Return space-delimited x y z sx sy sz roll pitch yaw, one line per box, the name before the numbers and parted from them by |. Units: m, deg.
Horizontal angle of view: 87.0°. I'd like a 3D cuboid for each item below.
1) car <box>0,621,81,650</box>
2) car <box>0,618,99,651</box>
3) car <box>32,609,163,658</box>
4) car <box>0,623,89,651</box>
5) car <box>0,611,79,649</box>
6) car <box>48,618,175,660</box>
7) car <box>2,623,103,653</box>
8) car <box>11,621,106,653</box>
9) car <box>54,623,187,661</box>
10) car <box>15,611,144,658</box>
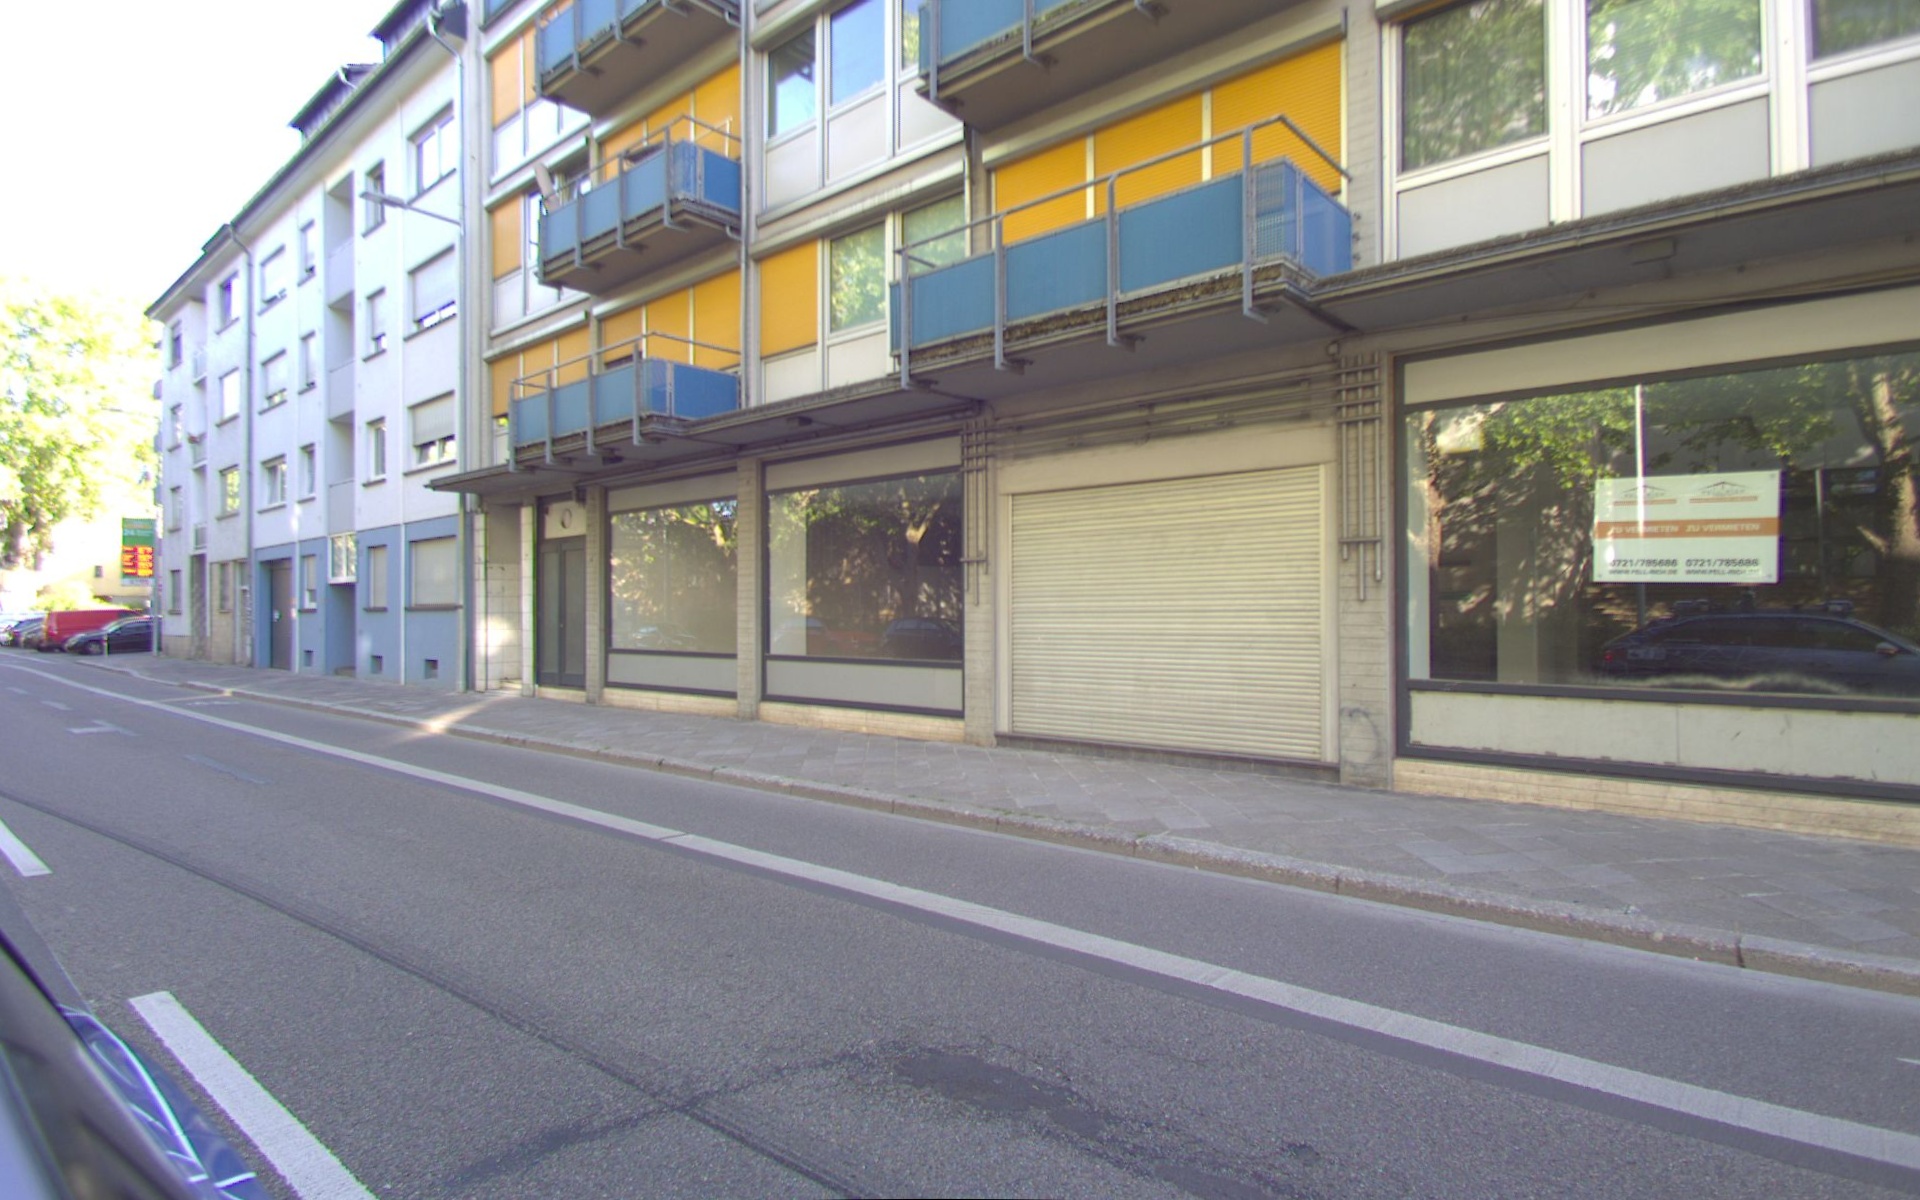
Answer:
car | -56.031 2.141 61.320 1.852 1.571 3.945 -2 0 41
car | -52.501 1.981 58.286 2.027 1.696 4.150 -1 0 41
car | -40.562 1.541 47.652 2.145 1.966 4.375 -2 1 41
car | -54.385 2.159 59.973 1.852 1.444 3.945 -2 0 41
car | -59.421 1.886 64.381 2.139 2.233 4.794 -1 1 41
car | -38.278 1.716 45.720 1.886 1.575 4.129 -1 1 41
car | -50.379 2.085 56.228 1.915 1.466 3.945 -2 0 41
car | -48.796 1.966 54.831 1.830 1.524 3.647 -1 1 41
car | -36.616 1.781 44.198 2.045 1.390 4.184 -1 1 41
car | -42.772 1.618 49.236 2.056 1.966 4.475 -2 1 41
